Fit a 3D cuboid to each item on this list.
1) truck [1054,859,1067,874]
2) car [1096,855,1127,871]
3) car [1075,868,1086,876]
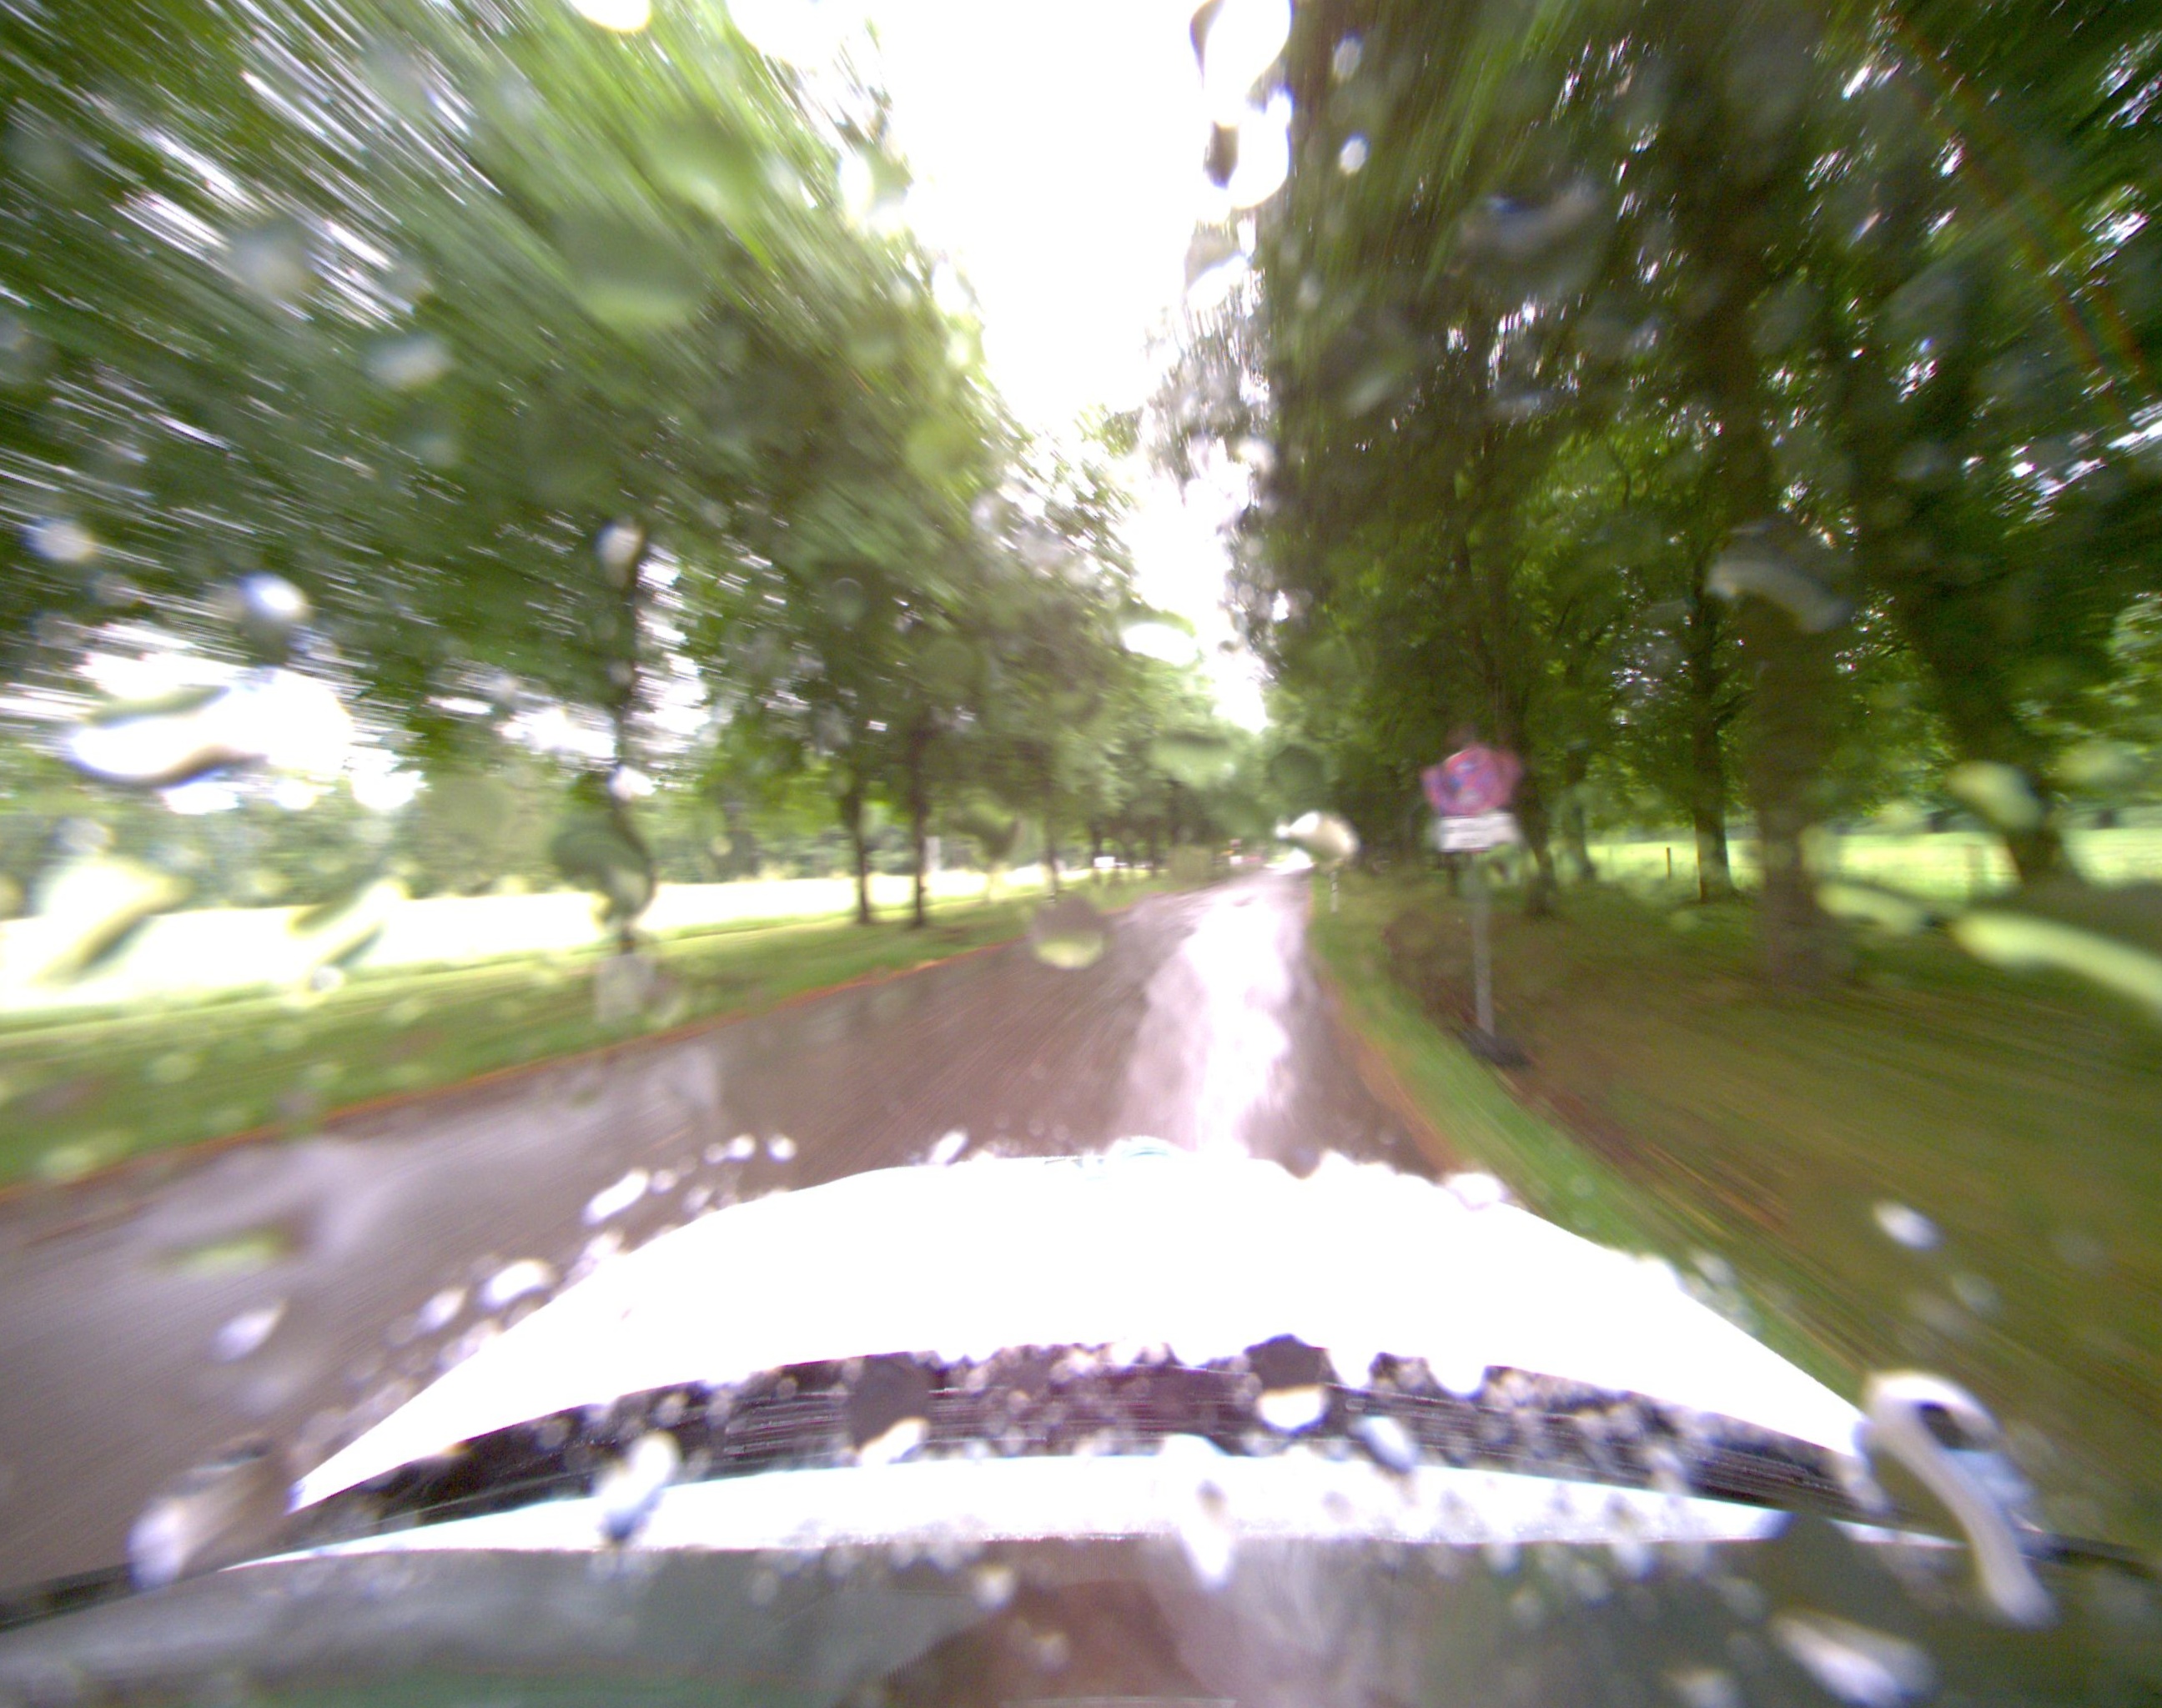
[{"bbox_3d":[-3.498,2.095,139.273,1.862,2.443,3.350,-2,-1,2],"label":"truck"},{"bbox_3d":[5.346,1.609,143.199,2.401,2.408,5.922,0,-3,-32],"label":"car"},{"bbox_3d":[-0.161,3.108,140.183,1.758,1.429,4.103,-2,-1,-2],"label":"car"}]
